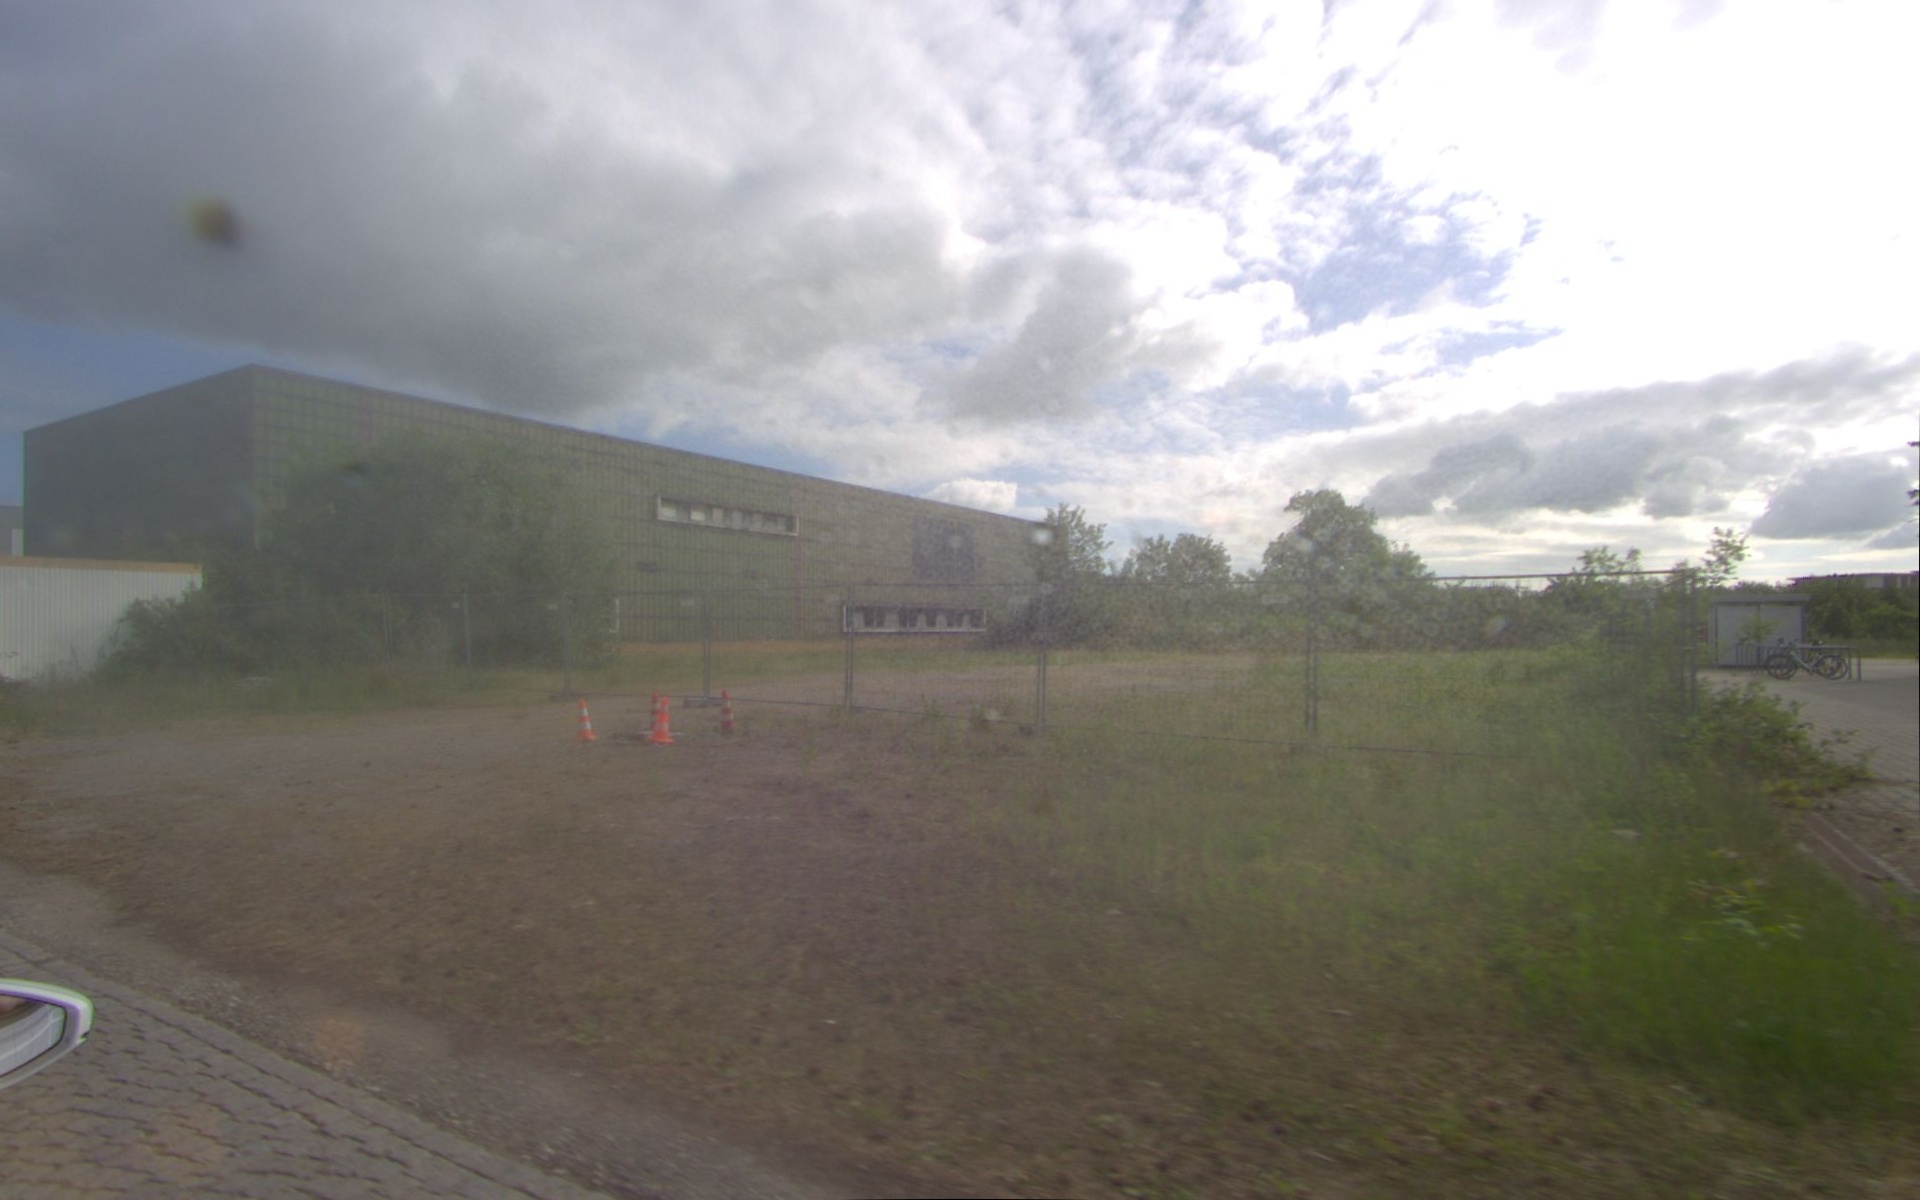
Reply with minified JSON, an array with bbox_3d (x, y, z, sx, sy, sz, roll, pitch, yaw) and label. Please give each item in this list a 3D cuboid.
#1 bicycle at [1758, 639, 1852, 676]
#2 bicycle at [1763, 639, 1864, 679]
[{"bbox_3d":[24.212,1.641,28.744,1.962,1.038,0.832,-1,-2,34],"label":"bicycle"},{"bbox_3d":[22.989,1.574,27.026,1.962,1.038,0.832,-1,-2,34],"label":"bicycle"}]
